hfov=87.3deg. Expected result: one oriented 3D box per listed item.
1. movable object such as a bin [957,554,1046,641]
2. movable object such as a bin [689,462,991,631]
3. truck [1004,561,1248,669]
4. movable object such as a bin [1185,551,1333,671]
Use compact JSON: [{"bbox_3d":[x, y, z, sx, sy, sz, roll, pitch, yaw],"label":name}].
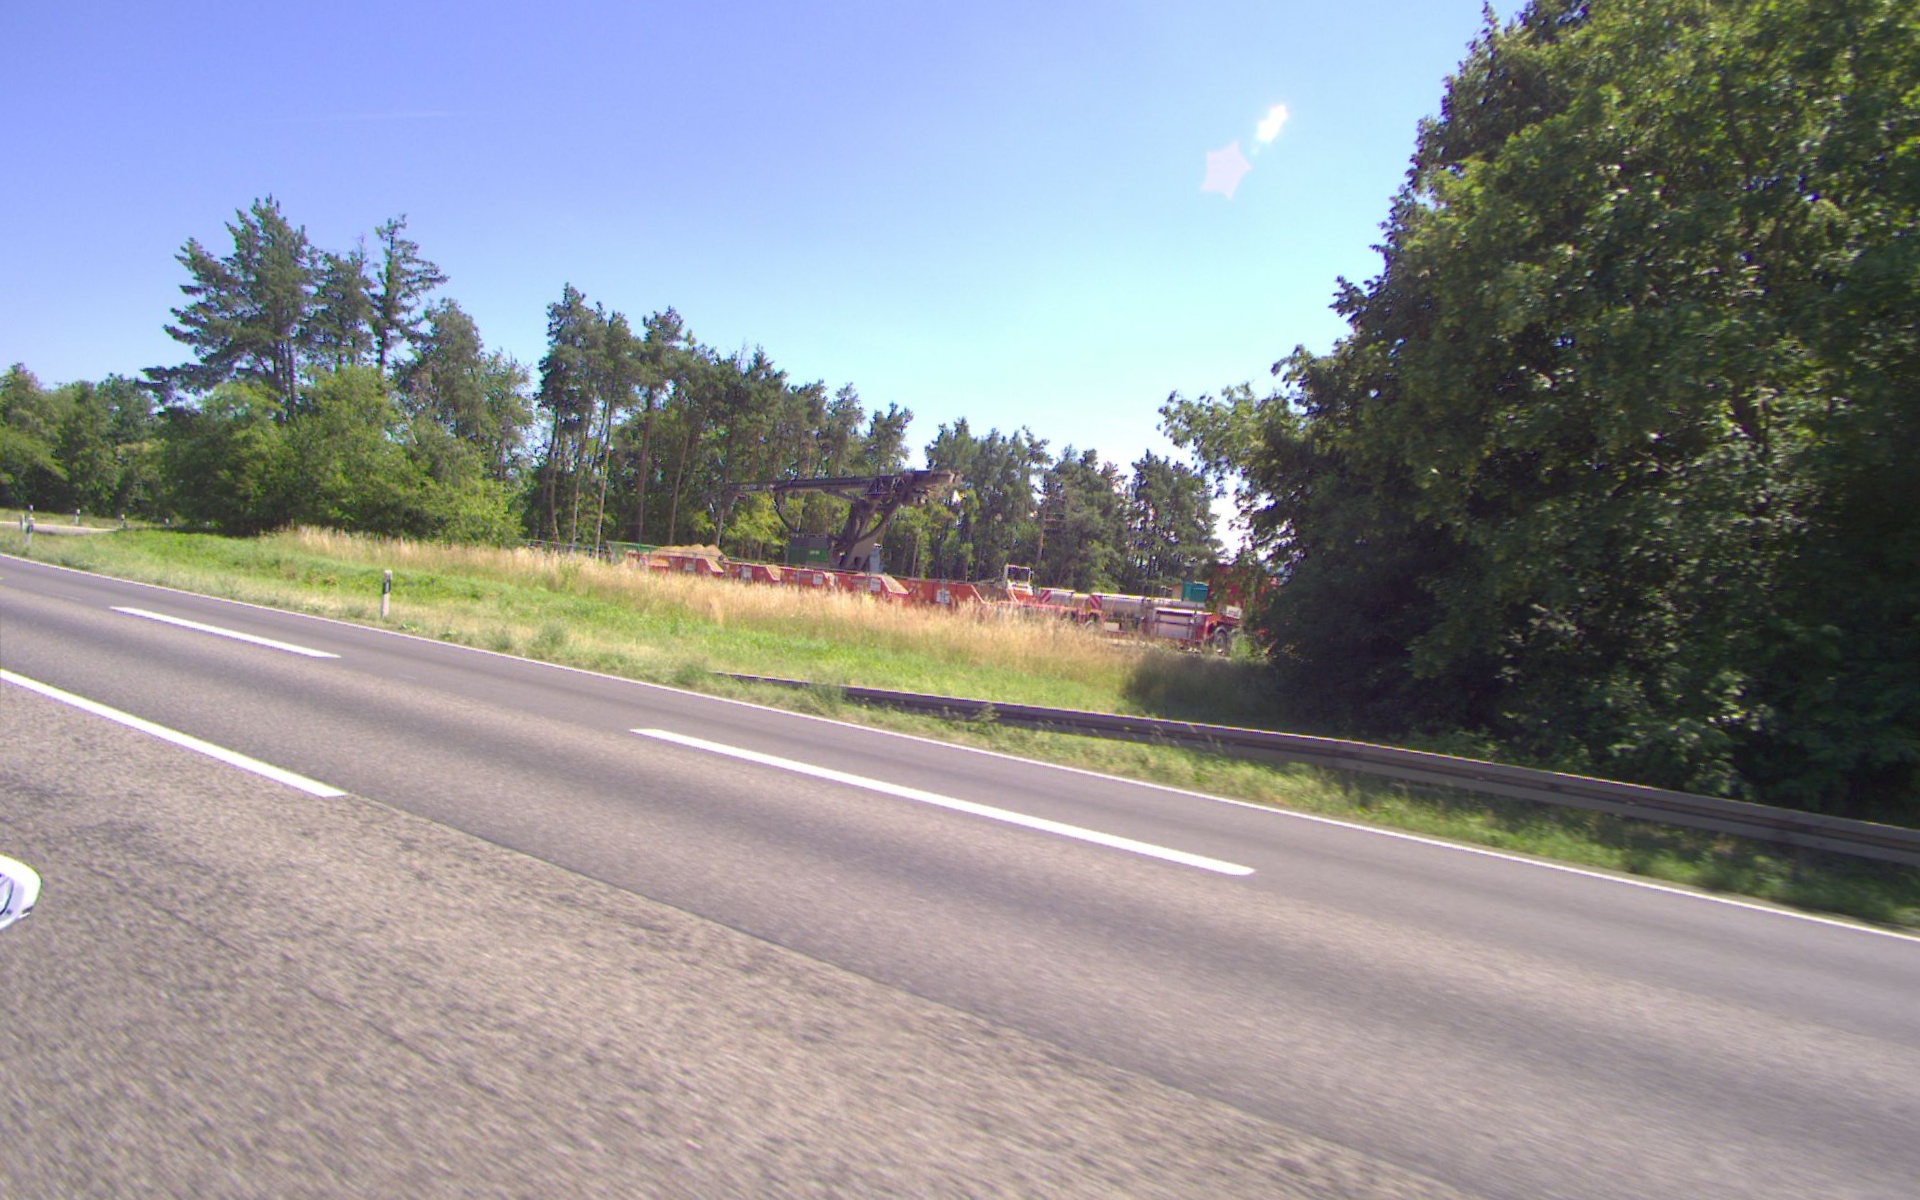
[{"bbox_3d":[2.276,-0.071,58.399,3.882,4.258,6.645,8,-1,-5],"label":"movable object such as a bin"},{"bbox_3d":[-7.937,-3.438,58.042,22.501,8.020,3.124,6,-1,45],"label":"movable object such as a bin"},{"bbox_3d":[10.683,0.812,67.206,15.938,5.287,3.132,7,-1,37],"label":"truck"},{"bbox_3d":[13.176,0.556,44.089,3.760,4.361,5.909,7,-1,40],"label":"movable object such as a bin"}]
